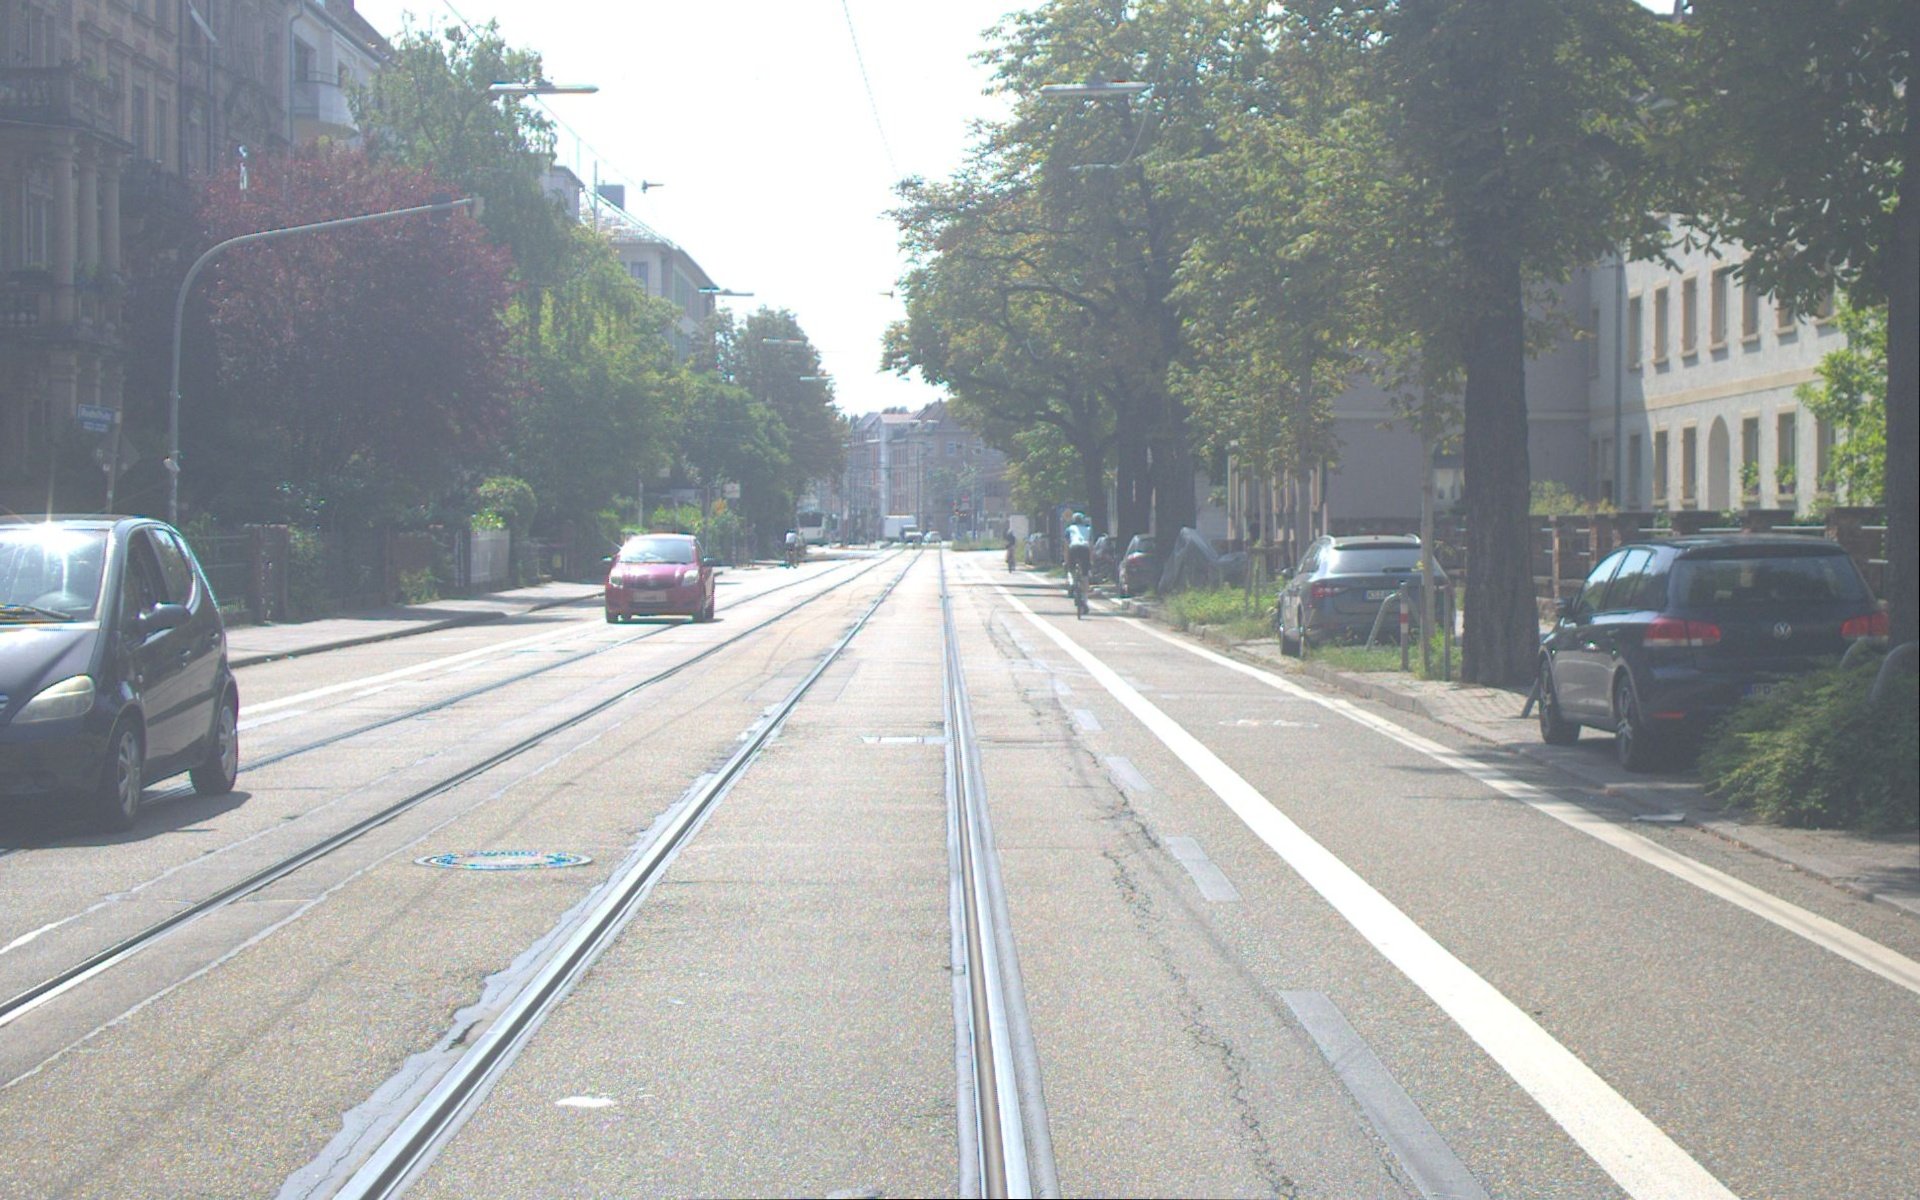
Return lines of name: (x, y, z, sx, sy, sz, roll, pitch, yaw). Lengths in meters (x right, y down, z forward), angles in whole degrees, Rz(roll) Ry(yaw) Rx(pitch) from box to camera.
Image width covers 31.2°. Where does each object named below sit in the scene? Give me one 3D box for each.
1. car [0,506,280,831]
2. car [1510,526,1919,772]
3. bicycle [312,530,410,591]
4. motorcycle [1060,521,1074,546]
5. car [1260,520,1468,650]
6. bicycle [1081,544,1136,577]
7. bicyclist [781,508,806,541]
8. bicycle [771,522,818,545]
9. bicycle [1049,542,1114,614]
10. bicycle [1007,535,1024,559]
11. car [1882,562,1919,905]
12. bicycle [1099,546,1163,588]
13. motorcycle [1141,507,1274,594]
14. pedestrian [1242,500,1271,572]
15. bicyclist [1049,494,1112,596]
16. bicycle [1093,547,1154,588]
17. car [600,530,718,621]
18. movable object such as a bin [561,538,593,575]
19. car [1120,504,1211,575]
car: (-4.900, 0.274, 18.245, 1.827, 1.535, 4.000, 0, 2, -1)
car: (4.954, 0.252, 23.031, 1.755, 1.472, 4.387, 0, 1, -1)
bicycle: (-12.086, -0.793, 69.409, 1.813, 1.178, 0.716, 2, 1, 2)
motorcycle: (4.658, -2.883, 149.594, 0.549, 1.064, 2.330, 0, 1, 0)
car: (4.791, -0.225, 41.407, 1.892, 1.472, 4.841, 0, 1, -1)
bicycle: (4.647, -1.235, 107.714, 1.713, 1.028, 0.566, 0, 1, 1)
bicyclist: (-7.190, -3.267, 148.886, 0.760, 1.387, 0.777, 1, 1, 36)
bicycle: (-7.182, -2.864, 148.904, 0.760, 0.987, 2.293, 1, 1, 36)
bicycle: (2.200, -0.415, 62.783, 1.148, 1.265, 2.712, 0, 1, 1)
bicycle: (2.122, -2.021, 131.112, 0.588, 0.936, 2.172, 0, 1, 2)
car: (4.977, 0.563, 12.901, 1.755, 1.472, 4.458, -3, 1, 0)
bicycle: (4.655, -0.900, 93.689, 1.723, 1.145, 0.377, 1, 1, 6)
motorcycle: (4.630, -0.915, 64.376, 2.344, 1.535, 0.966, -2, -1, 41)
pedestrian: (7.777, -1.678, 90.340, 0.706, 1.885, 0.714, 0, 1, 1)
bicyclist: (2.188, -0.999, 62.549, 1.125, 1.830, 0.956, 0, 1, 1)
bicycle: (4.442, -0.887, 93.316, 1.606, 1.100, 0.398, 1, 1, 6)
car: (-5.186, -0.452, 59.557, 1.732, 1.485, 4.000, 0, 2, -1)
movable object such as a bin: (-11.366, -1.282, 102.015, 0.786, 1.072, 0.803, 2, 1, 3)
car: (4.755, -1.423, 79.967, 1.840, 1.527, 4.115, 0, 3, -1)
